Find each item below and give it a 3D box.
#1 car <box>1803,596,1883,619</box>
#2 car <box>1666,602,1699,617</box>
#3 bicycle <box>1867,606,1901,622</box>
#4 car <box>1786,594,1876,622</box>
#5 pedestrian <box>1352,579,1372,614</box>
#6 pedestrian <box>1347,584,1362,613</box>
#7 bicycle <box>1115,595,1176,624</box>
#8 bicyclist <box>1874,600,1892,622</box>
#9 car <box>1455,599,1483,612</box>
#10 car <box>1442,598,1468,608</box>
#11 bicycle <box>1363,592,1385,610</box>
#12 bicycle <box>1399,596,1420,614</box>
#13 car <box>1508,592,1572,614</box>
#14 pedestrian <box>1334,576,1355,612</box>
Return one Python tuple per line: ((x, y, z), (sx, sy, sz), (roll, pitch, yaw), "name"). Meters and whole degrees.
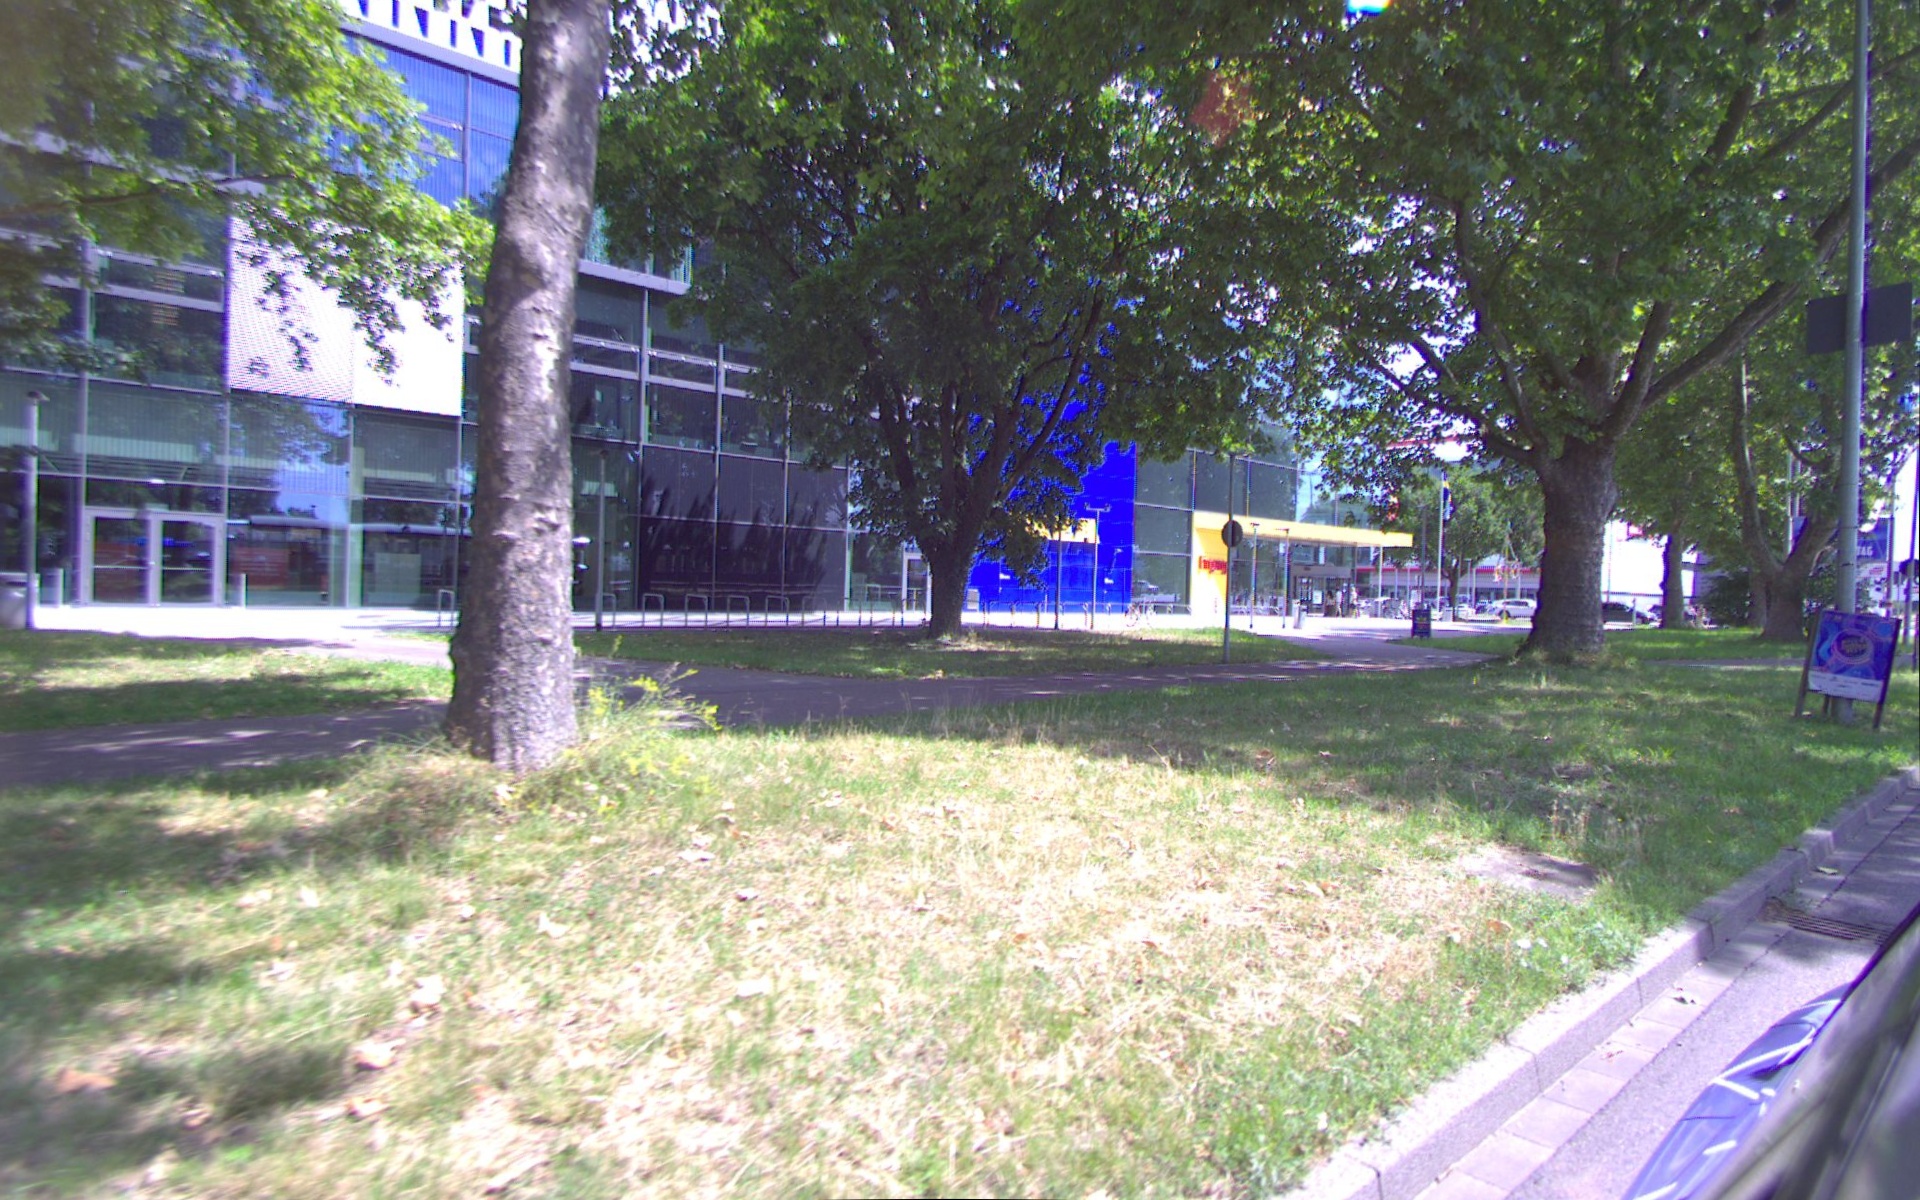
((58.504, 0.510, 67.115), (1.772, 1.414, 3.829), (1, 0, -42), "car")
((85.778, 1.123, 120.109), (4.420, 1.739, 1.999), (0, 0, -37), "car")
((75.809, 1.144, 83.020), (0.814, 1.176, 1.883), (1, 1, -24), "bicycle")
((55.627, 0.473, 64.668), (1.964, 1.574, 3.998), (-6, 3, -36), "car")
((23.342, -0.212, 58.814), (0.718, 2.039, 0.800), (1, 0, -32), "pedestrian")
((23.252, -0.107, 59.701), (0.574, 1.693, 0.608), (0, 0, -29), "pedestrian")
((6.729, 0.322, 36.820), (0.854, 0.981, 2.062), (1, 1, -43), "bicycle")
((75.765, 0.891, 83.069), (0.799, 1.722, 0.801), (1, 1, -25), "bicyclist")
((62.556, 0.662, 124.410), (3.933, 1.565, 1.850), (0, 0, -43), "car")
((69.100, 0.376, 141.230), (3.927, 1.327, 1.693), (0, 0, -39), "car")
((28.201, 0.066, 68.938), (0.798, 1.214, 2.401), (2, 1, 37), "bicycle")
((29.766, 0.317, 66.991), (0.798, 1.159, 2.401), (1, 1, 37), "bicycle")
((46.552, 0.203, 81.308), (1.965, 1.660, 4.076), (0, 1, -41), "car")
((22.376, -0.342, 58.906), (0.718, 2.039, 0.801), (1, 0, -27), "pedestrian")
